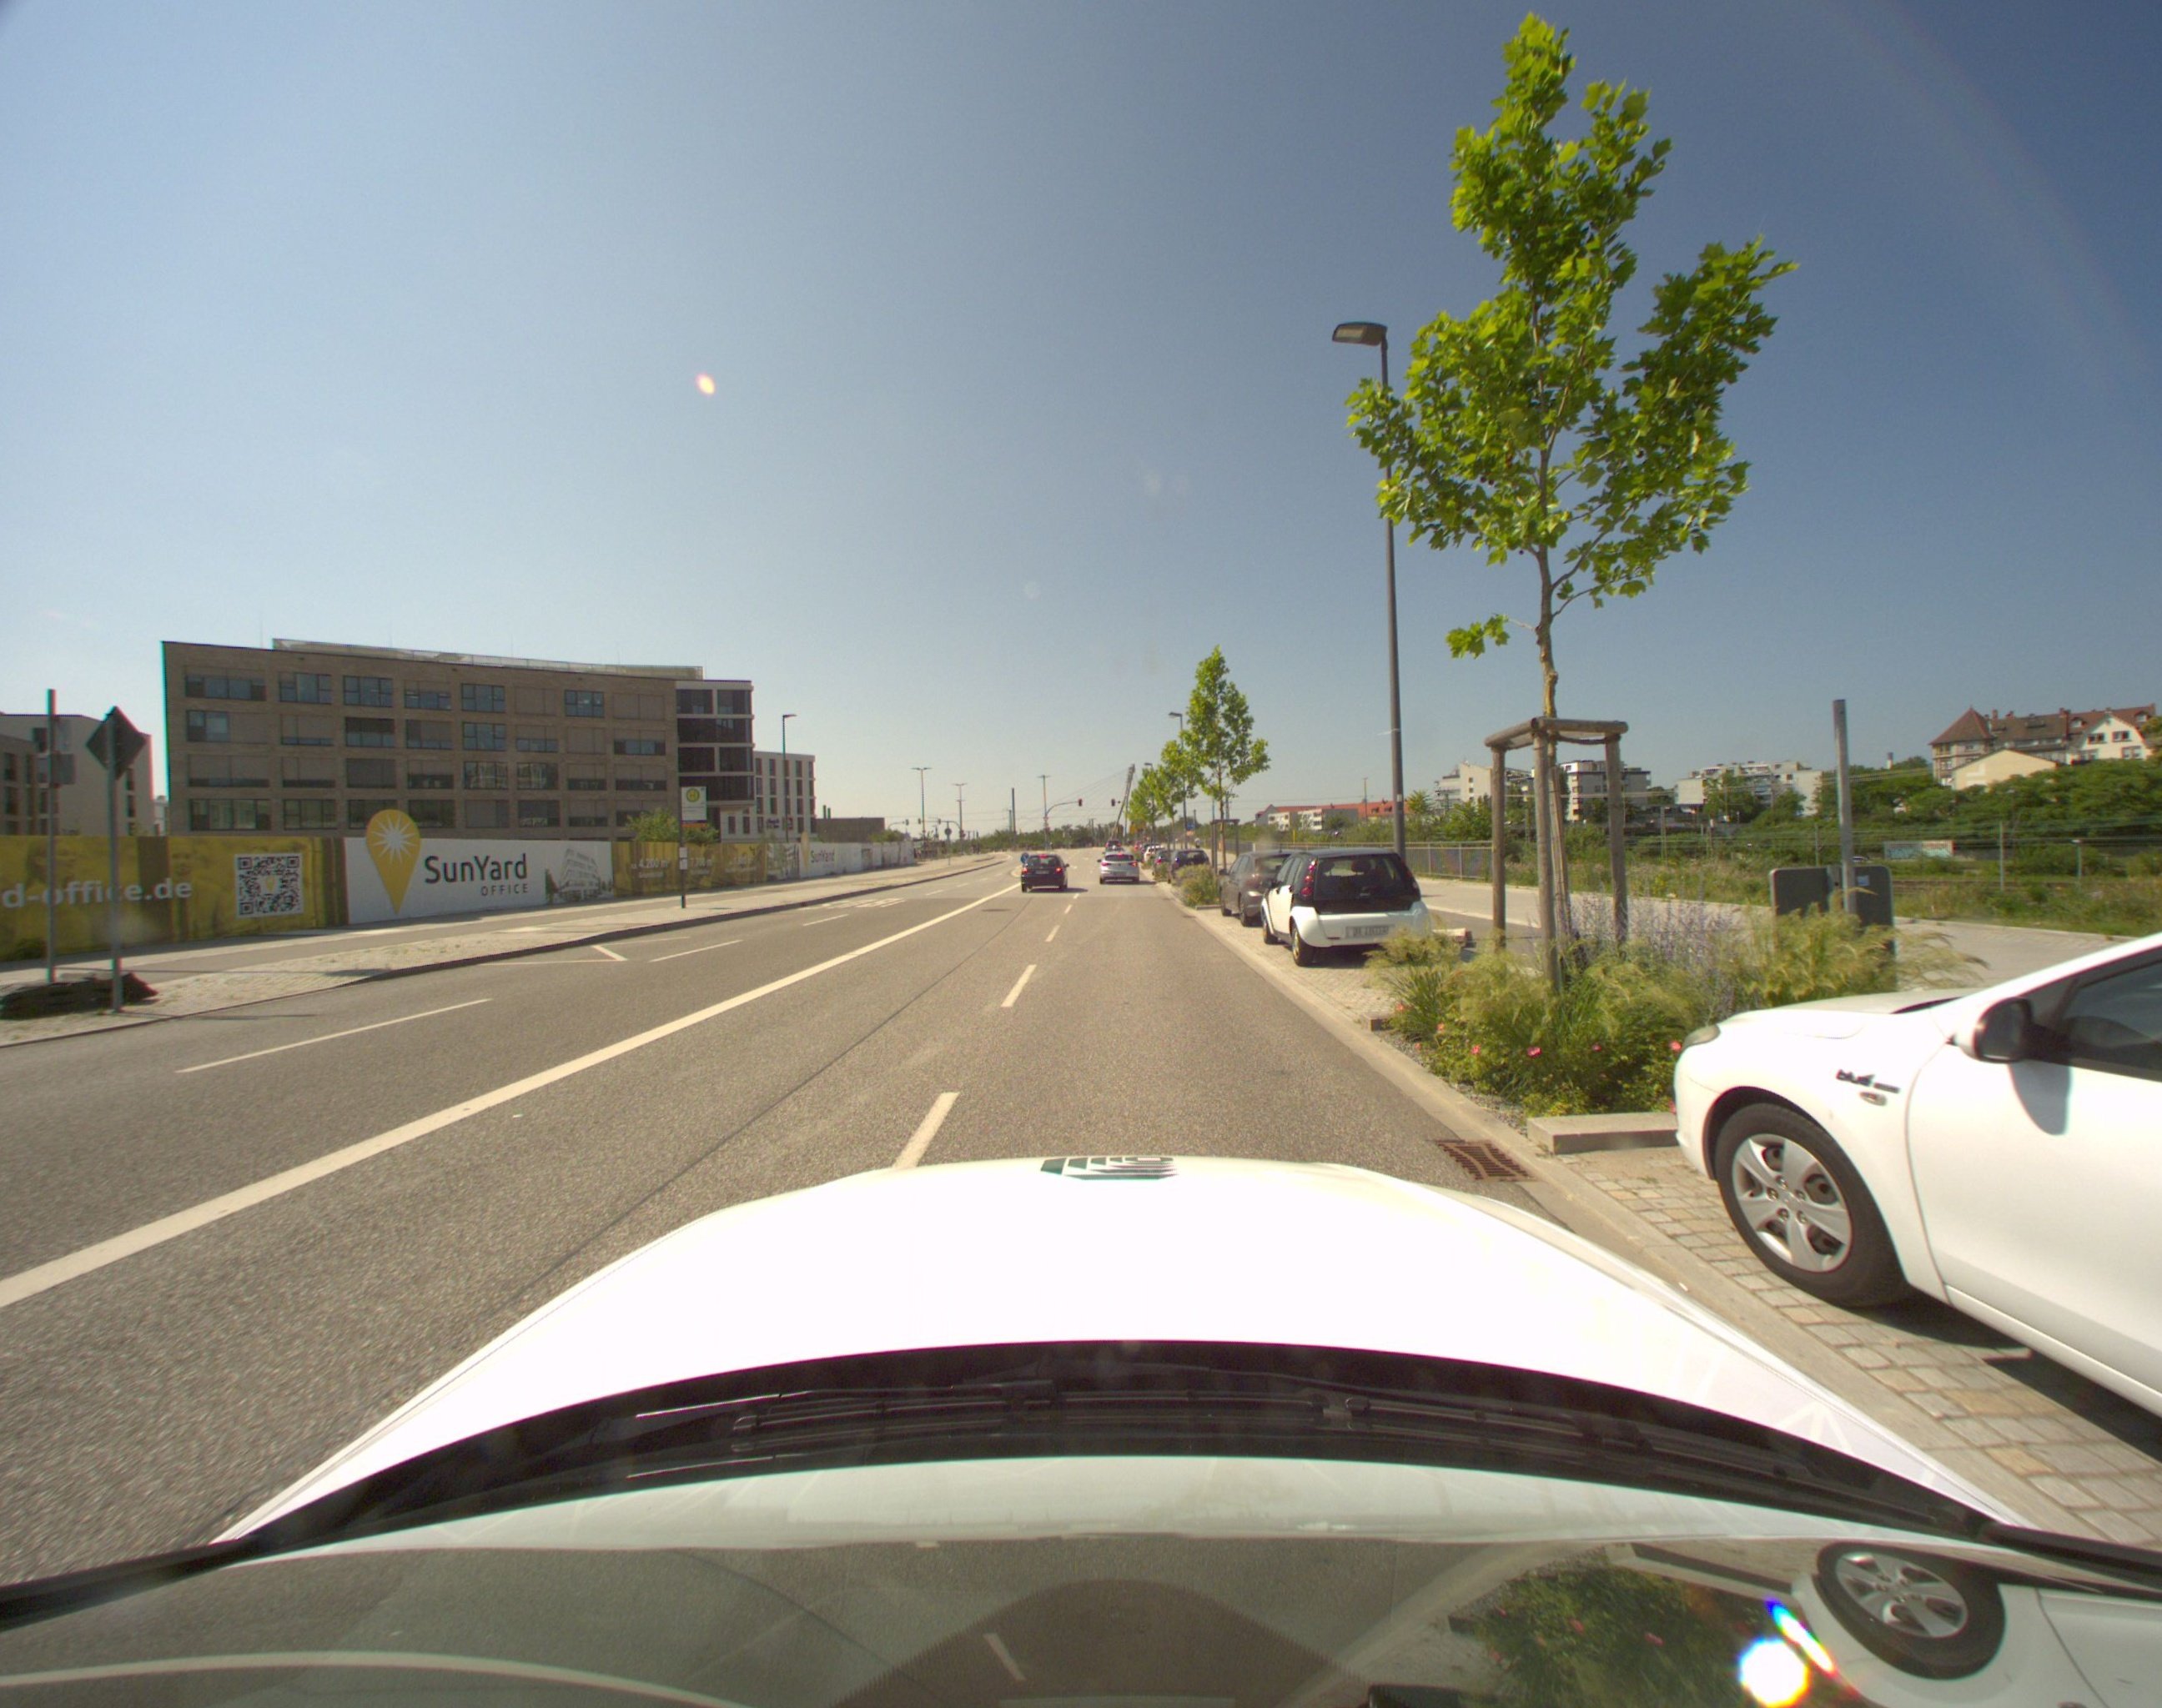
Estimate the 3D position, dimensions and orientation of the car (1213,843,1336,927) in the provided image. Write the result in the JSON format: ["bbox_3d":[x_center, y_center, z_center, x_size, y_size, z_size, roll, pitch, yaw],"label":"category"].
[{"bbox_3d":[3.938,0.551,17.171,1.698,1.462,3.956,-3,1,2],"label":"car"}]

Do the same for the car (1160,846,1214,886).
[{"bbox_3d":[4.368,0.477,34.073,1.698,1.462,3.953,-3,-1,0],"label":"car"}]

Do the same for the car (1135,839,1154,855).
[{"bbox_3d":[6.537,-0.729,84.043,1.771,1.503,4.003,-3,1,2],"label":"car"}]

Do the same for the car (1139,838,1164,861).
[{"bbox_3d":[5.690,-0.381,65.734,1.814,1.616,3.615,-3,1,3],"label":"car"}]

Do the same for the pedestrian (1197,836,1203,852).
[{"bbox_3d":[11.439,-0.947,78.346,0.531,1.575,0.524,0,-1,2],"label":"pedestrian"}]

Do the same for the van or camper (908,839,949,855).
[{"bbox_3d":[-18.785,-0.820,100.311,1.975,1.897,4.745,-1,-1,45],"label":"van or camper"}]

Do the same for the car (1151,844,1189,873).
[{"bbox_3d":[4.710,0.214,43.562,1.697,1.401,4.273,-3,0,3],"label":"car"}]

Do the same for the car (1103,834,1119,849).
[{"bbox_3d":[3.515,-1.449,94.634,1.771,1.568,4.003,-2,2,2],"label":"car"}]

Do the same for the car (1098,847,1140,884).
[{"bbox_3d":[1.732,0.498,37.471,1.771,1.442,4.002,-2,2,2],"label":"car"}]

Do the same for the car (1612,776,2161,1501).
[{"bbox_3d":[3.094,0.570,1.450,1.740,1.509,4.002,-2,0,1],"label":"car"}]

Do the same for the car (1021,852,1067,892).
[{"bbox_3d":[-1.388,0.658,31.739,1.614,1.416,3.726,-2,0,0],"label":"car"}]

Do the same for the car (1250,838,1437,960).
[{"bbox_3d":[3.671,0.543,12.130,1.696,1.462,4.089,-2,0,4],"label":"car"}]

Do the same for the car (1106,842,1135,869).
[{"bbox_3d":[2.566,0.068,53.238,1.771,1.568,4.003,-2,2,2],"label":"car"}]

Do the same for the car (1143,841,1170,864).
[{"bbox_3d":[5.442,-0.158,59.075,1.689,1.475,4.209,-3,1,3],"label":"car"}]
